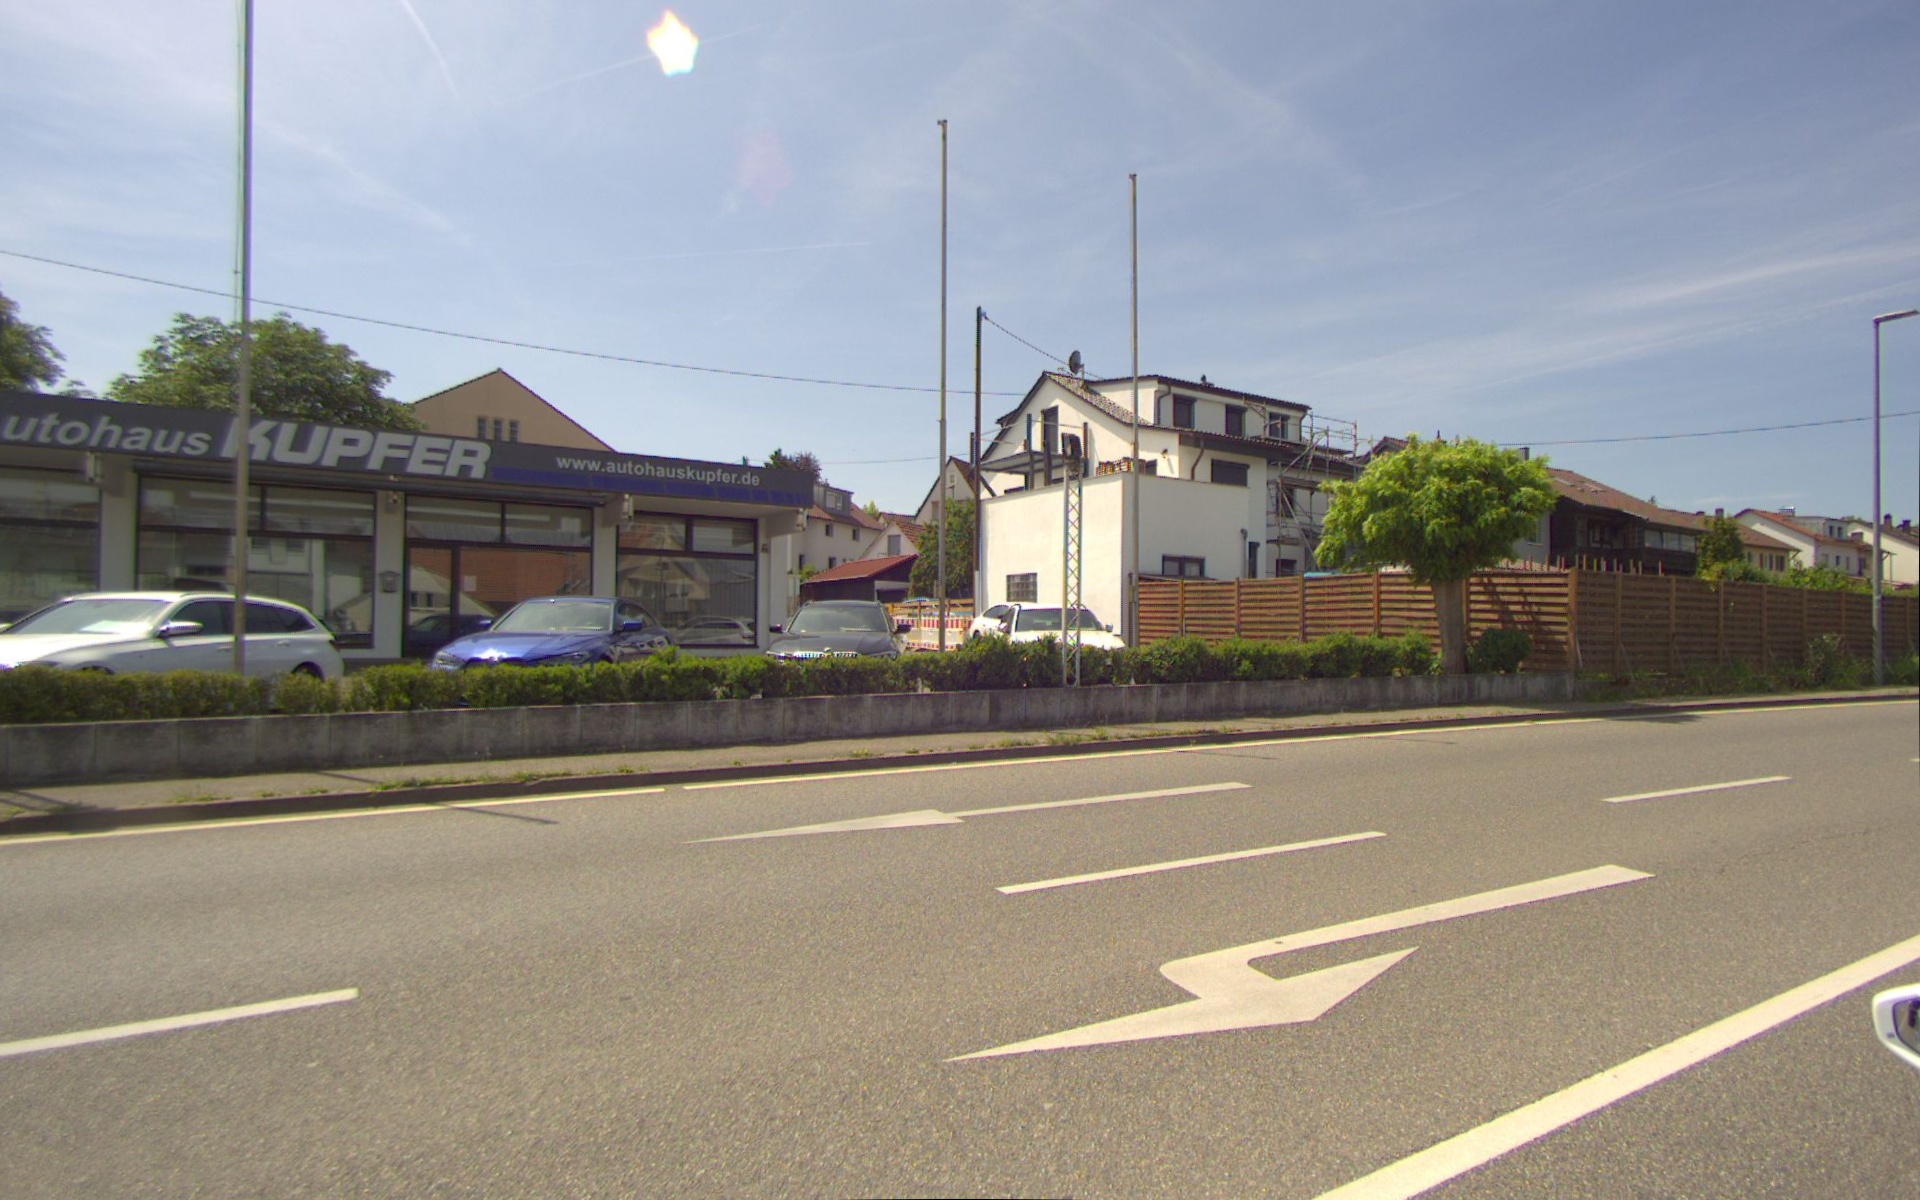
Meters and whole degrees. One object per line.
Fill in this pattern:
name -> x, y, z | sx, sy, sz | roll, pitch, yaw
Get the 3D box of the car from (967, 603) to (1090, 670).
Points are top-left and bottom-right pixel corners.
car -> 1.652, 0.878, 25.633 | 1.806, 1.530, 3.984 | 1, 0, -17

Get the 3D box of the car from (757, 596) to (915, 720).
car -> -1.725, 0.719, 14.443 | 1.863, 1.467, 4.338 | 2, 0, -6

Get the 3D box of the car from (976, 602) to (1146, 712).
car -> 1.435, 0.801, 16.028 | 1.822, 1.467, 4.338 | 2, 0, -6

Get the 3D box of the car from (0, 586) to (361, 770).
car -> -8.472, 0.610, 10.334 | 1.820, 1.467, 4.516 | 1, 0, 1

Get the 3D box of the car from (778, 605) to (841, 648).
car -> -5.548, 0.936, 36.733 | 1.685, 1.420, 3.984 | 1, 0, -17

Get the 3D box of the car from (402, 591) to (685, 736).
car -> -4.969, 0.677, 12.738 | 1.821, 1.467, 4.341 | 2, 0, -1
